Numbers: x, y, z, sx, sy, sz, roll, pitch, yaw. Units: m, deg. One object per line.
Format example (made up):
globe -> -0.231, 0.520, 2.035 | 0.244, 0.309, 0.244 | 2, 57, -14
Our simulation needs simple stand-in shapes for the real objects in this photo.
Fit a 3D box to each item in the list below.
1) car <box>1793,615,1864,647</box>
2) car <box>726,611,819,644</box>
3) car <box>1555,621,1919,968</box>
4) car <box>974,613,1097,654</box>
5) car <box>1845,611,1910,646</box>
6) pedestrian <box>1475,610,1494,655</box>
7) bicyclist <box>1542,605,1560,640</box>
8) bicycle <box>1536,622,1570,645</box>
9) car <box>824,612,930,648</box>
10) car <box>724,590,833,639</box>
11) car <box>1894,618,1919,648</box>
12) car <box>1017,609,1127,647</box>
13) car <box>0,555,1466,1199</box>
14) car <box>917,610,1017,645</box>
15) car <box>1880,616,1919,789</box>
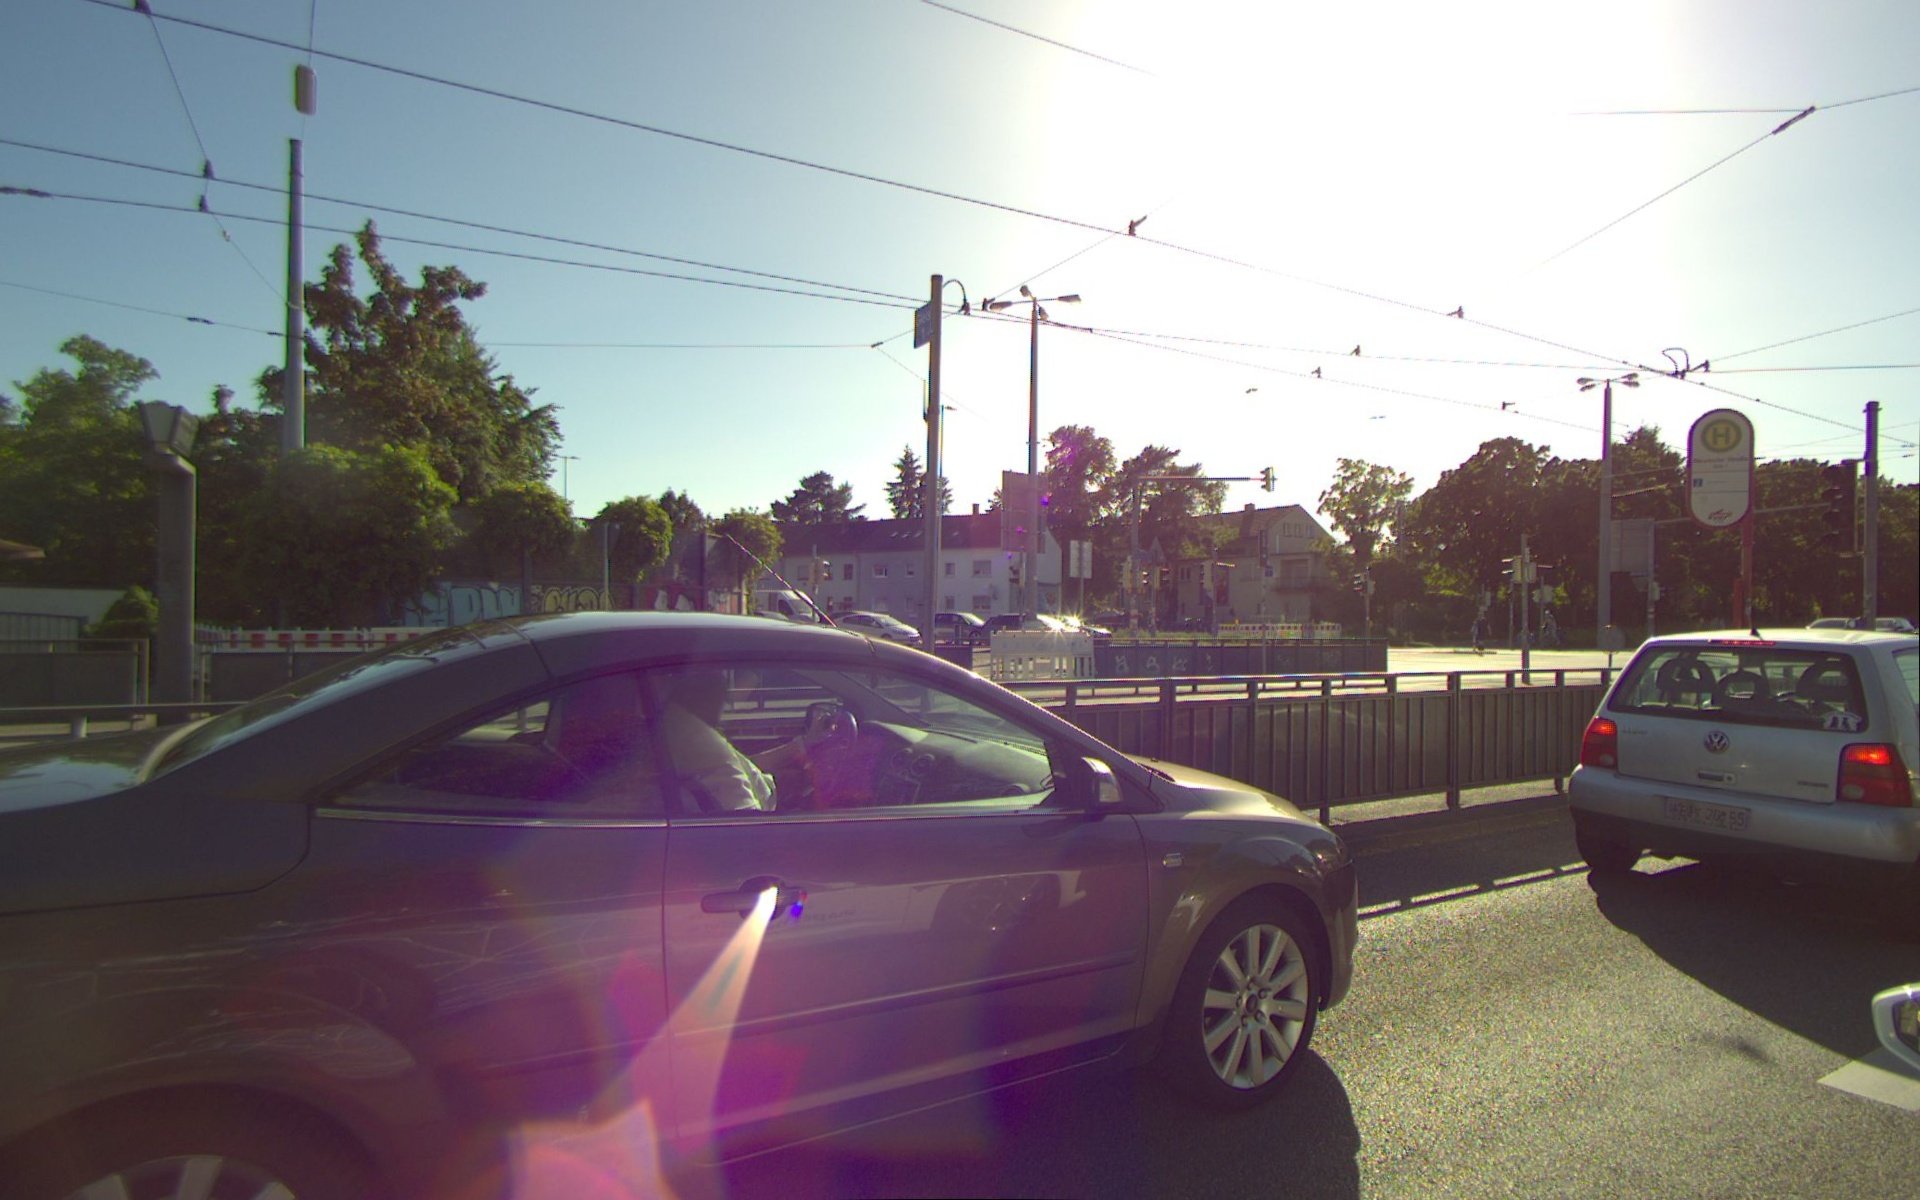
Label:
car -> 41.698, 1.473, 48.213 | 3.665, 1.478, 1.673 | 1, -1, -34
car -> -8.952, 1.303, 47.841 | 4.185, 1.486, 1.933 | 0, -1, 32
car -> 5.236, 0.888, 5.953 | 3.376, 1.488, 1.573 | 1, 0, -32
car -> 2.928, 1.272, 39.281 | 4.556, 1.496, 1.668 | 0, -1, 32
car -> 46.942, 1.421, 51.374 | 3.964, 1.710, 1.778 | 1, -1, -37
pedestrian -> 23.629, 1.457, 45.279 | 0.599, 1.974, 0.776 | 0, 0, 16
bicyclist -> 27.640, 1.044, 46.950 | 0.641, 1.629, 0.487 | 1, -1, -31
bicycle -> 27.770, 1.575, 47.040 | 1.926, 1.056, 0.504 | 1, -1, -31
car -> -3.619, 1.273, 43.688 | 4.290, 1.486, 1.933 | 0, -1, 32
car -> -9.559, 0.752, 52.687 | 5.823, 2.443, 2.174 | 0, -1, 35
car -> 53.789, 1.812, 55.924 | 4.648, 1.617, 1.800 | 1, -1, -37
car -> 4.696, 1.150, 42.316 | 4.175, 1.486, 1.933 | 0, 0, 32
car -> -0.410, 0.750, 3.129 | 4.150, 1.555, 1.740 | 1, -1, -33
car -> 0.312, 1.203, 45.626 | 4.185, 1.486, 1.933 | 0, 0, 32
car -> 10.792, 0.949, 9.590 | 4.371, 1.548, 1.867 | 1, -1, -32
